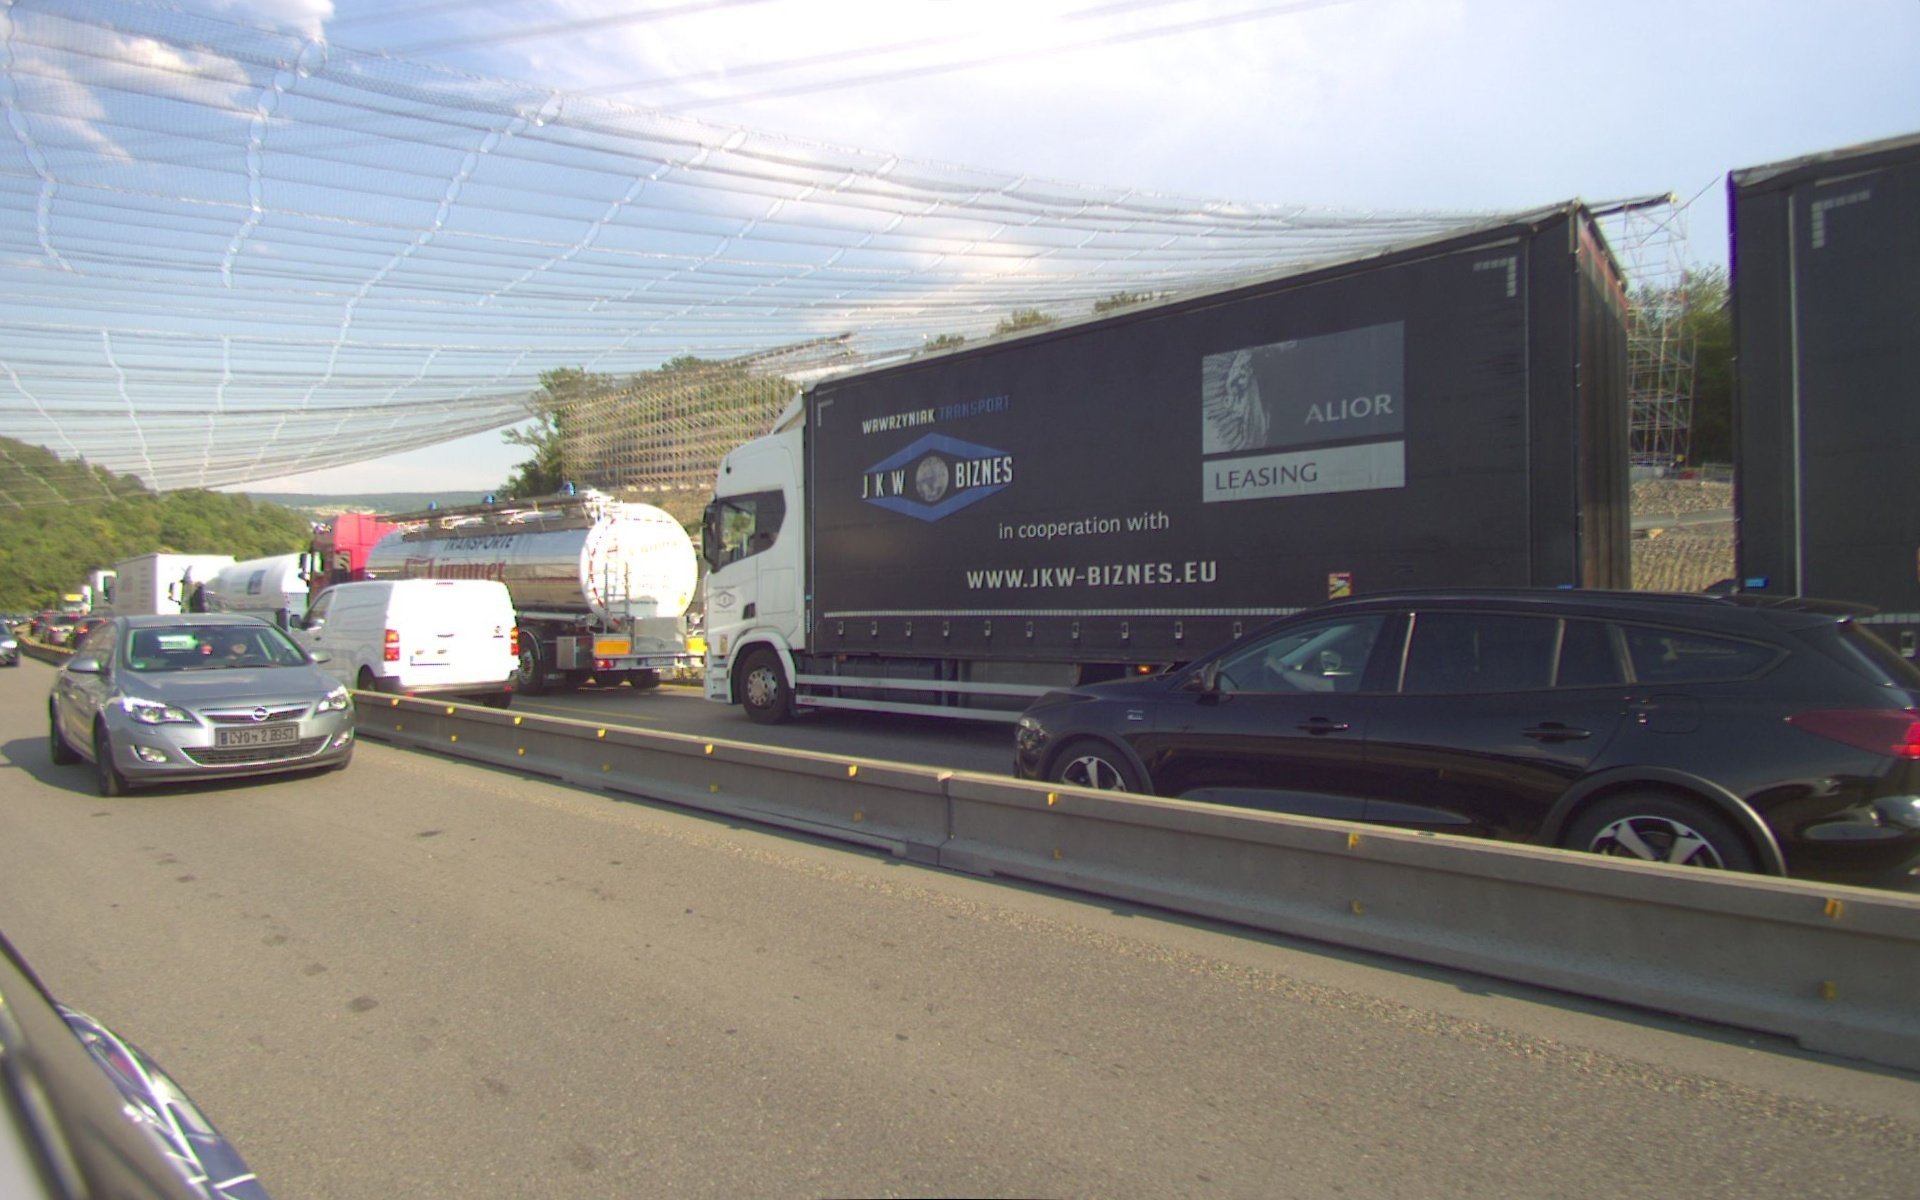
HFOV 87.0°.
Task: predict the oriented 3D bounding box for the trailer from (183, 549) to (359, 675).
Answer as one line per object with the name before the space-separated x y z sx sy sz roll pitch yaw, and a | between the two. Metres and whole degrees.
trailer | -22.231 0.361 32.227 12.056 3.387 2.281 -1 0 44

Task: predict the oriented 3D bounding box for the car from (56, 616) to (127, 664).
car | -30.343 1.352 35.330 3.587 1.540 1.490 -1 0 43

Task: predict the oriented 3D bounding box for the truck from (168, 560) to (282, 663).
truck | -26.419 0.395 36.267 5.619 3.395 2.387 -1 0 44

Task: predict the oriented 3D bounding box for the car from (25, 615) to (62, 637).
car | -61.013 1.686 67.354 3.902 1.386 1.589 -1 0 44

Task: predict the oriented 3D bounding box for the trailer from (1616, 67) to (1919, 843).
trailer | 8.191 -0.815 4.566 8.537 4.220 2.418 -1 0 40

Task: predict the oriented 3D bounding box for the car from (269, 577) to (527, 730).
car | -8.506 0.699 15.108 4.833 1.940 1.798 -1 0 40

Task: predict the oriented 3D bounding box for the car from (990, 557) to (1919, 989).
car | 2.463 0.611 5.329 4.600 1.490 1.663 -1 0 41

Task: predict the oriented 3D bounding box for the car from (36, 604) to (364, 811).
car | -7.221 0.795 9.429 4.353 1.484 1.736 -1 0 43

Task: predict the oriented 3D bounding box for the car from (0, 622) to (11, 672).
car | -29.234 1.366 29.820 1.740 1.394 3.824 0 0 -45

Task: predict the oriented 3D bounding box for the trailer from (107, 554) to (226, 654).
trailer | -36.328 0.221 46.038 14.103 3.993 2.400 -1 0 44

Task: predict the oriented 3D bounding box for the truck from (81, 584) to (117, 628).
truck | -88.264 0.614 103.845 2.687 4.259 14.191 0 0 -40

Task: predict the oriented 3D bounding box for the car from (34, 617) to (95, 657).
car | -39.077 1.569 44.138 3.945 1.599 1.731 -1 0 45

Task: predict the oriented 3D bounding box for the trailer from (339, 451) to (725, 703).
trailer | -9.169 -0.304 20.221 12.050 3.819 2.282 -1 0 42

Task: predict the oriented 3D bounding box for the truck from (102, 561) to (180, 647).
truck | -41.233 0.226 50.912 5.619 4.076 2.445 -1 0 44

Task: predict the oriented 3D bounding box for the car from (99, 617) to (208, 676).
car | -22.178 1.212 27.760 4.656 1.437 1.610 -1 0 42

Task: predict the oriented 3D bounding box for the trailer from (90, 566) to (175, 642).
trailer | -49.365 0.268 60.172 2.639 4.046 13.341 0 0 -45

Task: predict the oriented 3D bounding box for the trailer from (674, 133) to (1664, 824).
trailer | 0.974 -0.731 10.788 10.506 4.361 2.450 -1 0 41

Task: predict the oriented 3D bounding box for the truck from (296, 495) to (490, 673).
truck | -13.828 -0.321 24.492 5.615 3.813 2.407 -1 0 42
